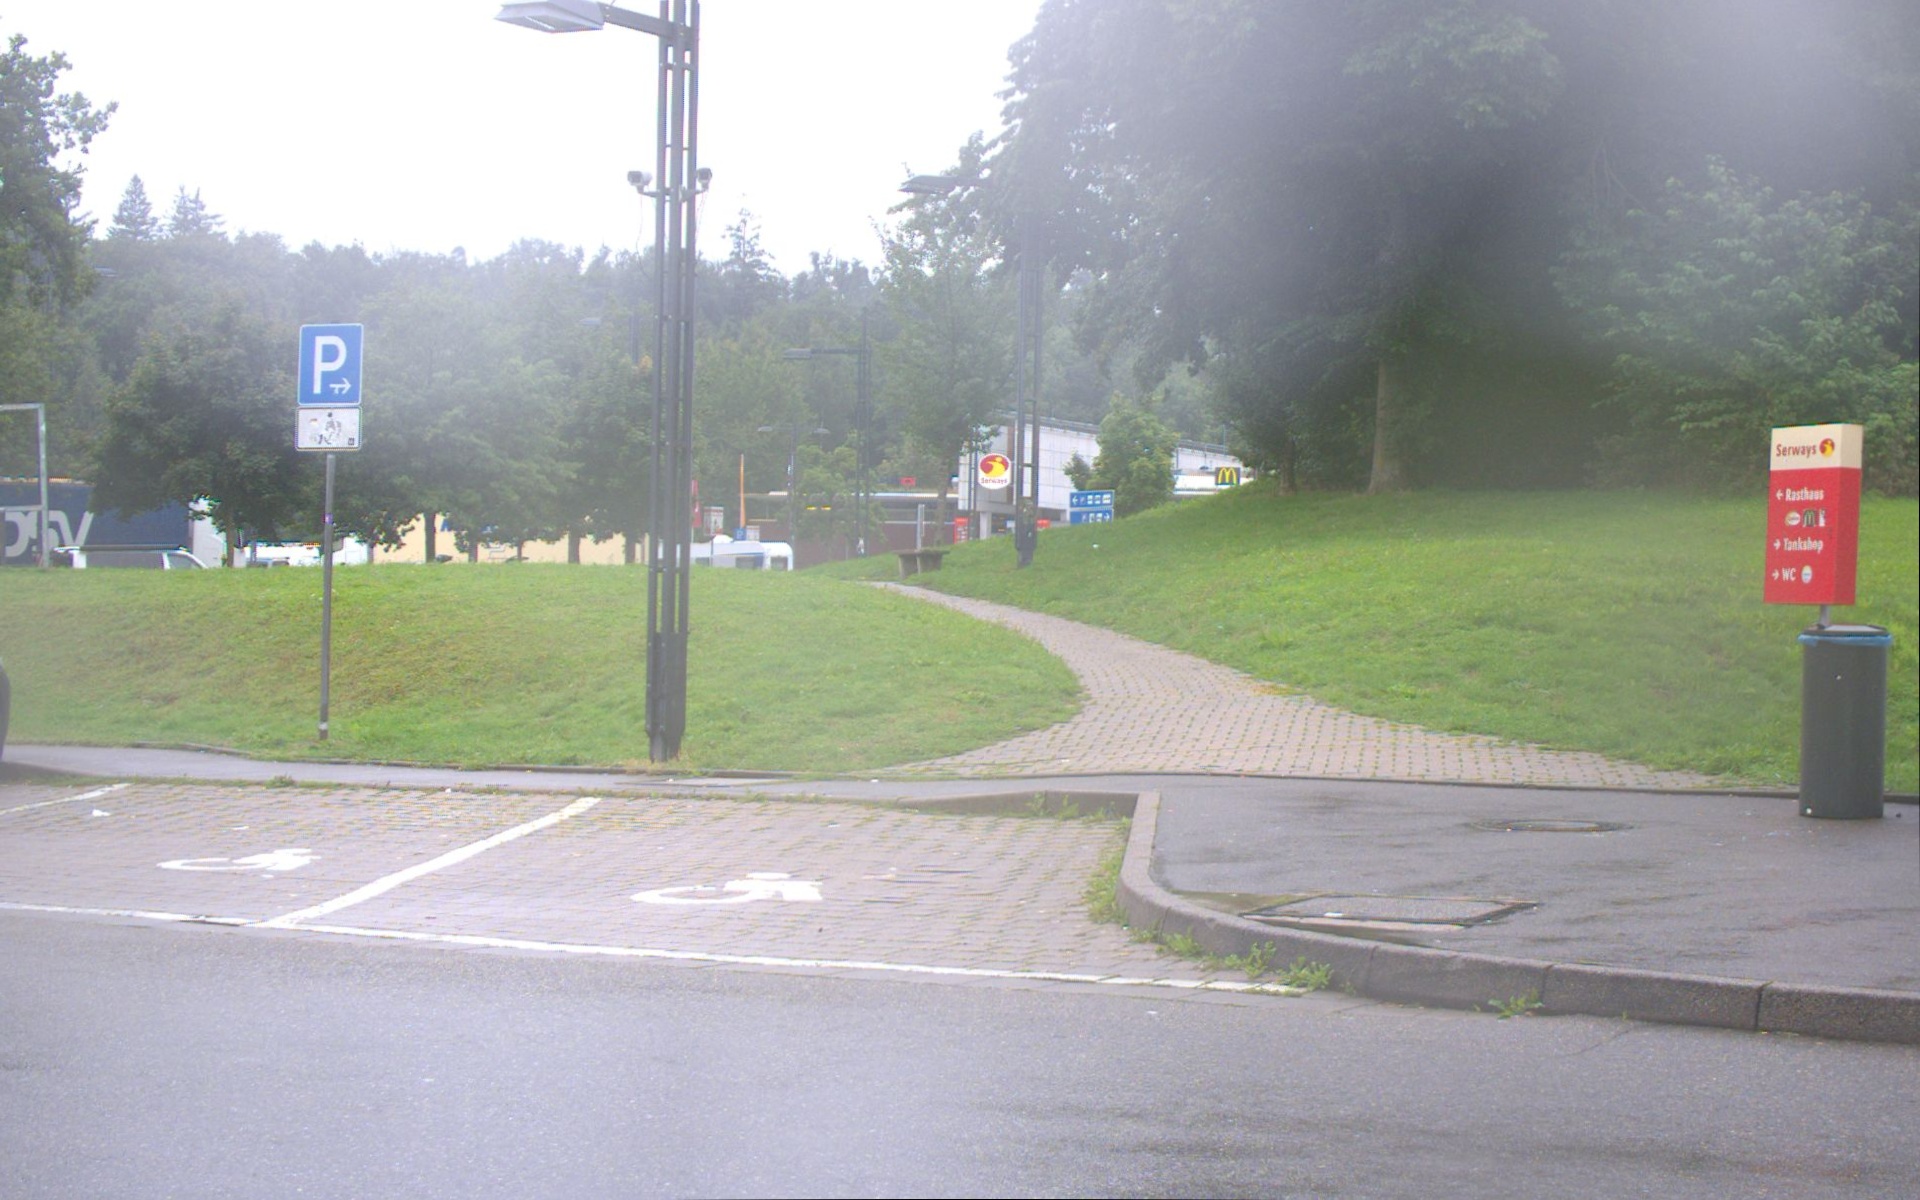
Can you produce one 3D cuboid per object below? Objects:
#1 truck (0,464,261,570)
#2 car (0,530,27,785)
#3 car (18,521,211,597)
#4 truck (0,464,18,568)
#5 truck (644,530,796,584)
[{"bbox_3d":[-25.466,-2.376,101.637,2.188,2.910,13.082,1,1,24],"label":"truck"},{"bbox_3d":[-7.803,0.450,21.500,2.018,1.705,4.341,-1,1,12],"label":"car"},{"bbox_3d":[-20.470,-0.976,83.298,4.124,1.777,1.844,0,1,-36],"label":"car"},{"bbox_3d":[-28.604,-2.351,94.668,2.189,2.910,5.380,1,1,24],"label":"truck"},{"bbox_3d":[-9.328,-1.671,133.815,5.413,2.007,2.364,1,1,25],"label":"truck"}]
